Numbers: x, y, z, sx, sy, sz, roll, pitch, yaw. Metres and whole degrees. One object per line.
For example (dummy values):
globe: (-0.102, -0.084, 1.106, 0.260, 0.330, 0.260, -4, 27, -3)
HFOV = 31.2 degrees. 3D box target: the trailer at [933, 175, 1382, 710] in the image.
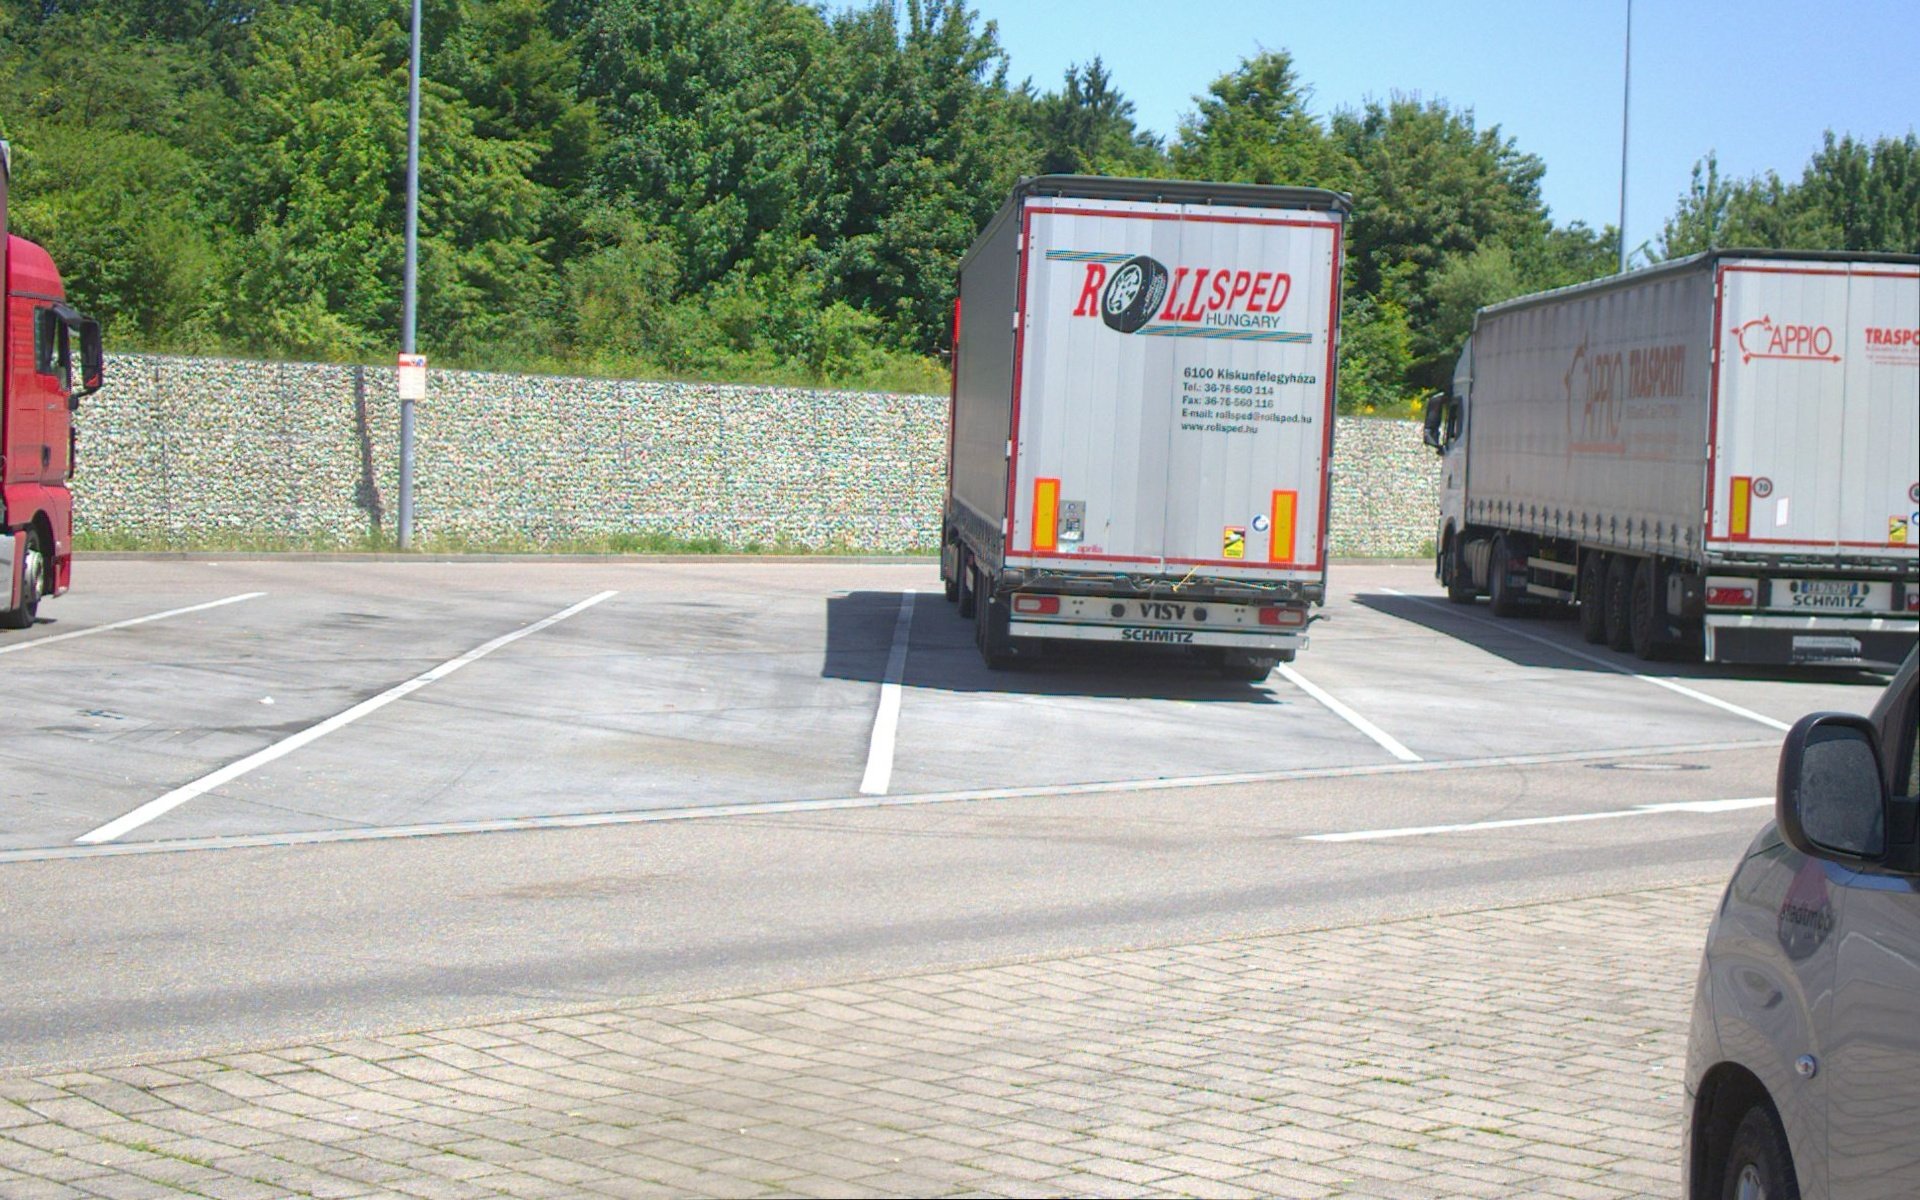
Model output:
trailer: (1.457, -1.588, 33.611, 3.133, 3.976, 14.397, 2, 3, -1)

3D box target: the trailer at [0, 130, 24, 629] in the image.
trailer: (-9.186, -1.487, 21.562, 2.791, 4.071, 14.133, 2, 3, -1)

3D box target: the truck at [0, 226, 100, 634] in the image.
truck: (-9.229, -1.442, 28.136, 2.851, 3.316, 5.900, 2, 3, -1)

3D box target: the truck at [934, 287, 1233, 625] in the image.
truck: (1.320, -1.729, 40.503, 3.103, 3.554, 5.900, 2, 3, -1)

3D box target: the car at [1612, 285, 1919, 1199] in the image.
car: (2.157, 0.587, 3.842, 1.869, 1.857, 4.177, 2, 2, -2)

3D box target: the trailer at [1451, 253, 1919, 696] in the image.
trailer: (8.123, -1.515, 38.723, 2.811, 3.976, 14.396, 2, 3, -1)

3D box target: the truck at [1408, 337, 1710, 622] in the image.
truck: (8.031, -1.690, 46.824, 2.862, 3.509, 5.900, 2, 3, -1)

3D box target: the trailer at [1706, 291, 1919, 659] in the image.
trailer: (11.764, -1.447, 39.775, 2.811, 3.976, 14.396, 2, 3, -1)
